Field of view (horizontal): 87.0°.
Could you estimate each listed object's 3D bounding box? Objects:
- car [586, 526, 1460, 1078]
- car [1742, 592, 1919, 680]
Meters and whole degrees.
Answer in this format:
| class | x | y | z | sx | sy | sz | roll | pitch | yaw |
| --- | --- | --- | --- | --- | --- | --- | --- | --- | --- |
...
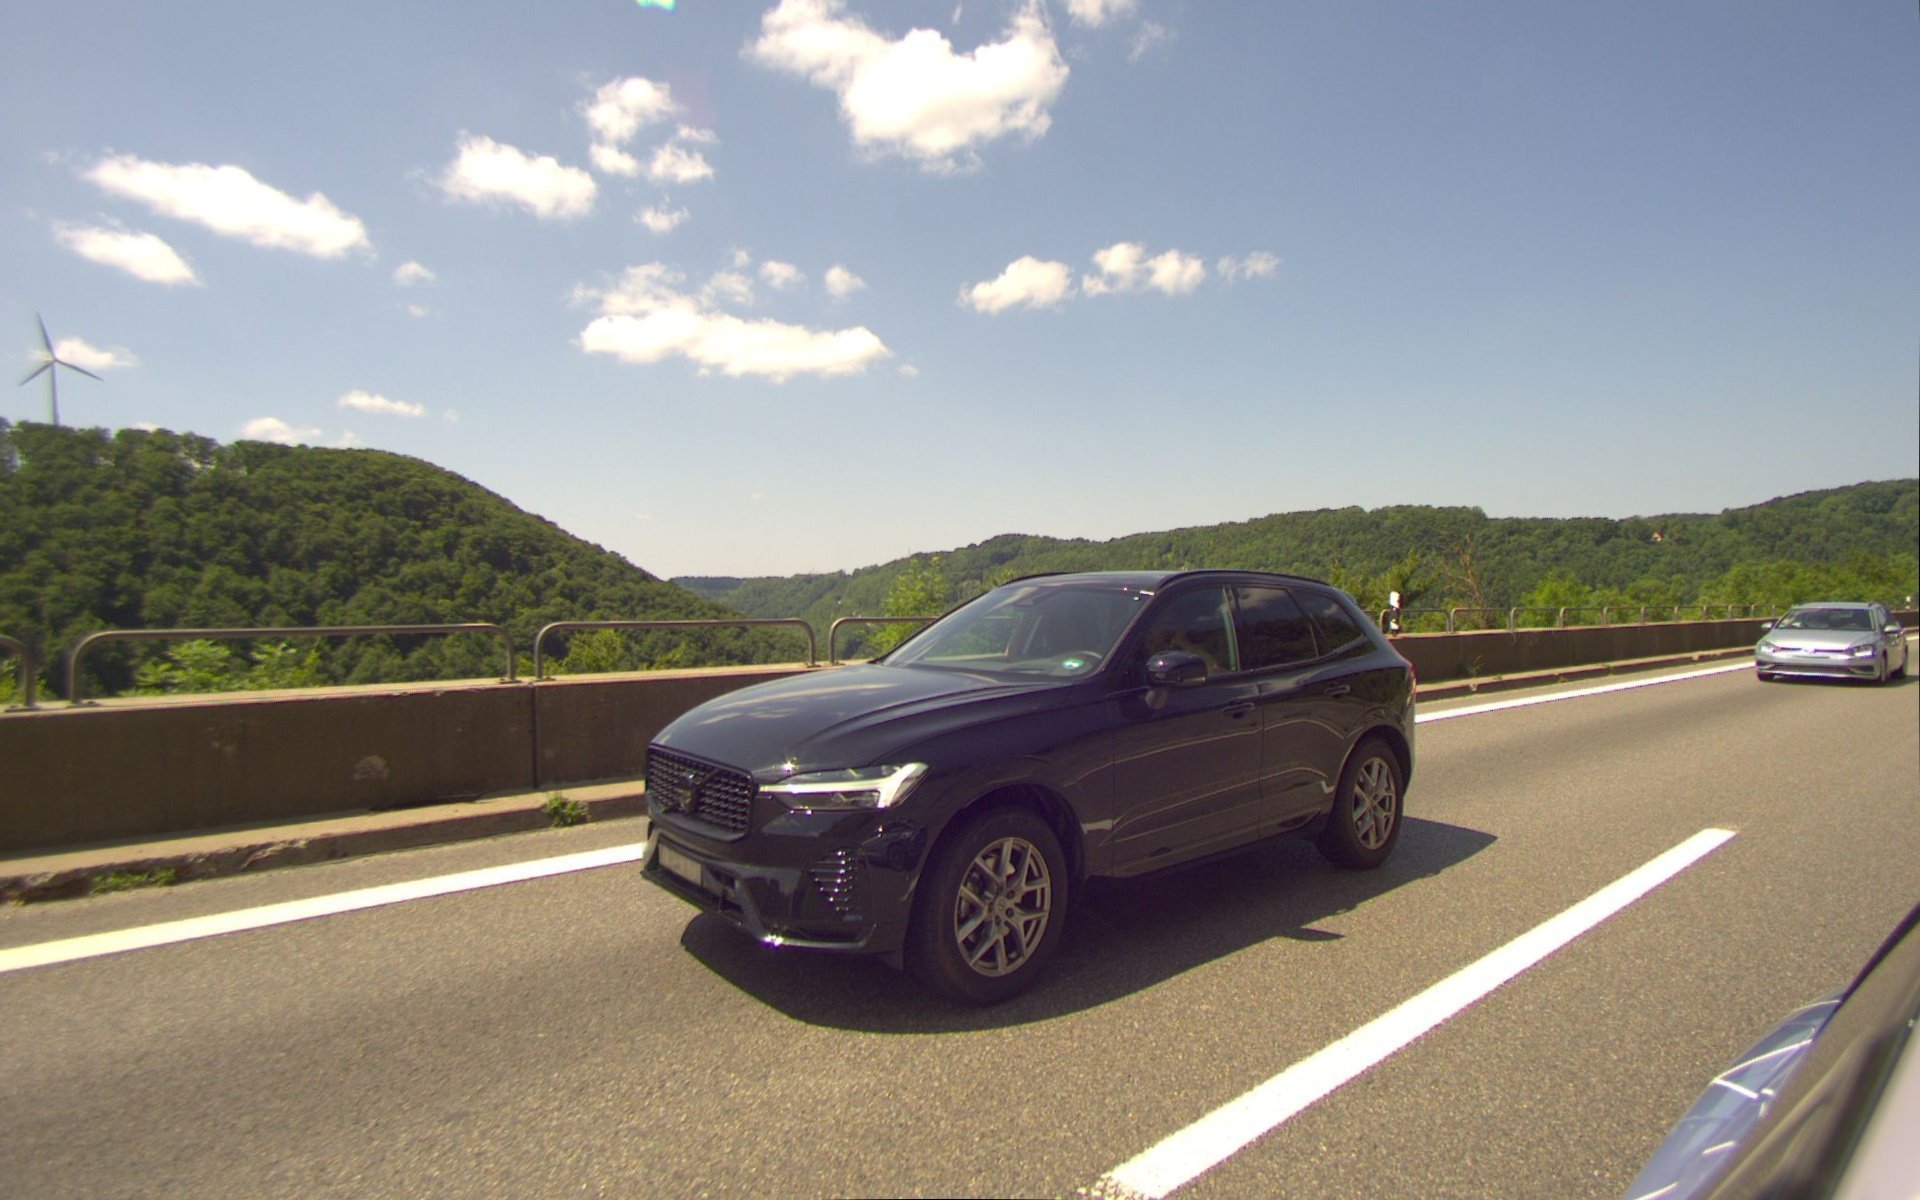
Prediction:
| class | x | y | z | sx | sy | sz | roll | pitch | yaw |
| --- | --- | --- | --- | --- | --- | --- | --- | --- | --- |
| car | 0.675 | 0.595 | 5.250 | 4.581 | 1.654 | 1.837 | 0 | 0 | -41 |
| car | 16.393 | 0.586 | 18.922 | 4.218 | 1.395 | 1.972 | -1 | 2 | -40 |
